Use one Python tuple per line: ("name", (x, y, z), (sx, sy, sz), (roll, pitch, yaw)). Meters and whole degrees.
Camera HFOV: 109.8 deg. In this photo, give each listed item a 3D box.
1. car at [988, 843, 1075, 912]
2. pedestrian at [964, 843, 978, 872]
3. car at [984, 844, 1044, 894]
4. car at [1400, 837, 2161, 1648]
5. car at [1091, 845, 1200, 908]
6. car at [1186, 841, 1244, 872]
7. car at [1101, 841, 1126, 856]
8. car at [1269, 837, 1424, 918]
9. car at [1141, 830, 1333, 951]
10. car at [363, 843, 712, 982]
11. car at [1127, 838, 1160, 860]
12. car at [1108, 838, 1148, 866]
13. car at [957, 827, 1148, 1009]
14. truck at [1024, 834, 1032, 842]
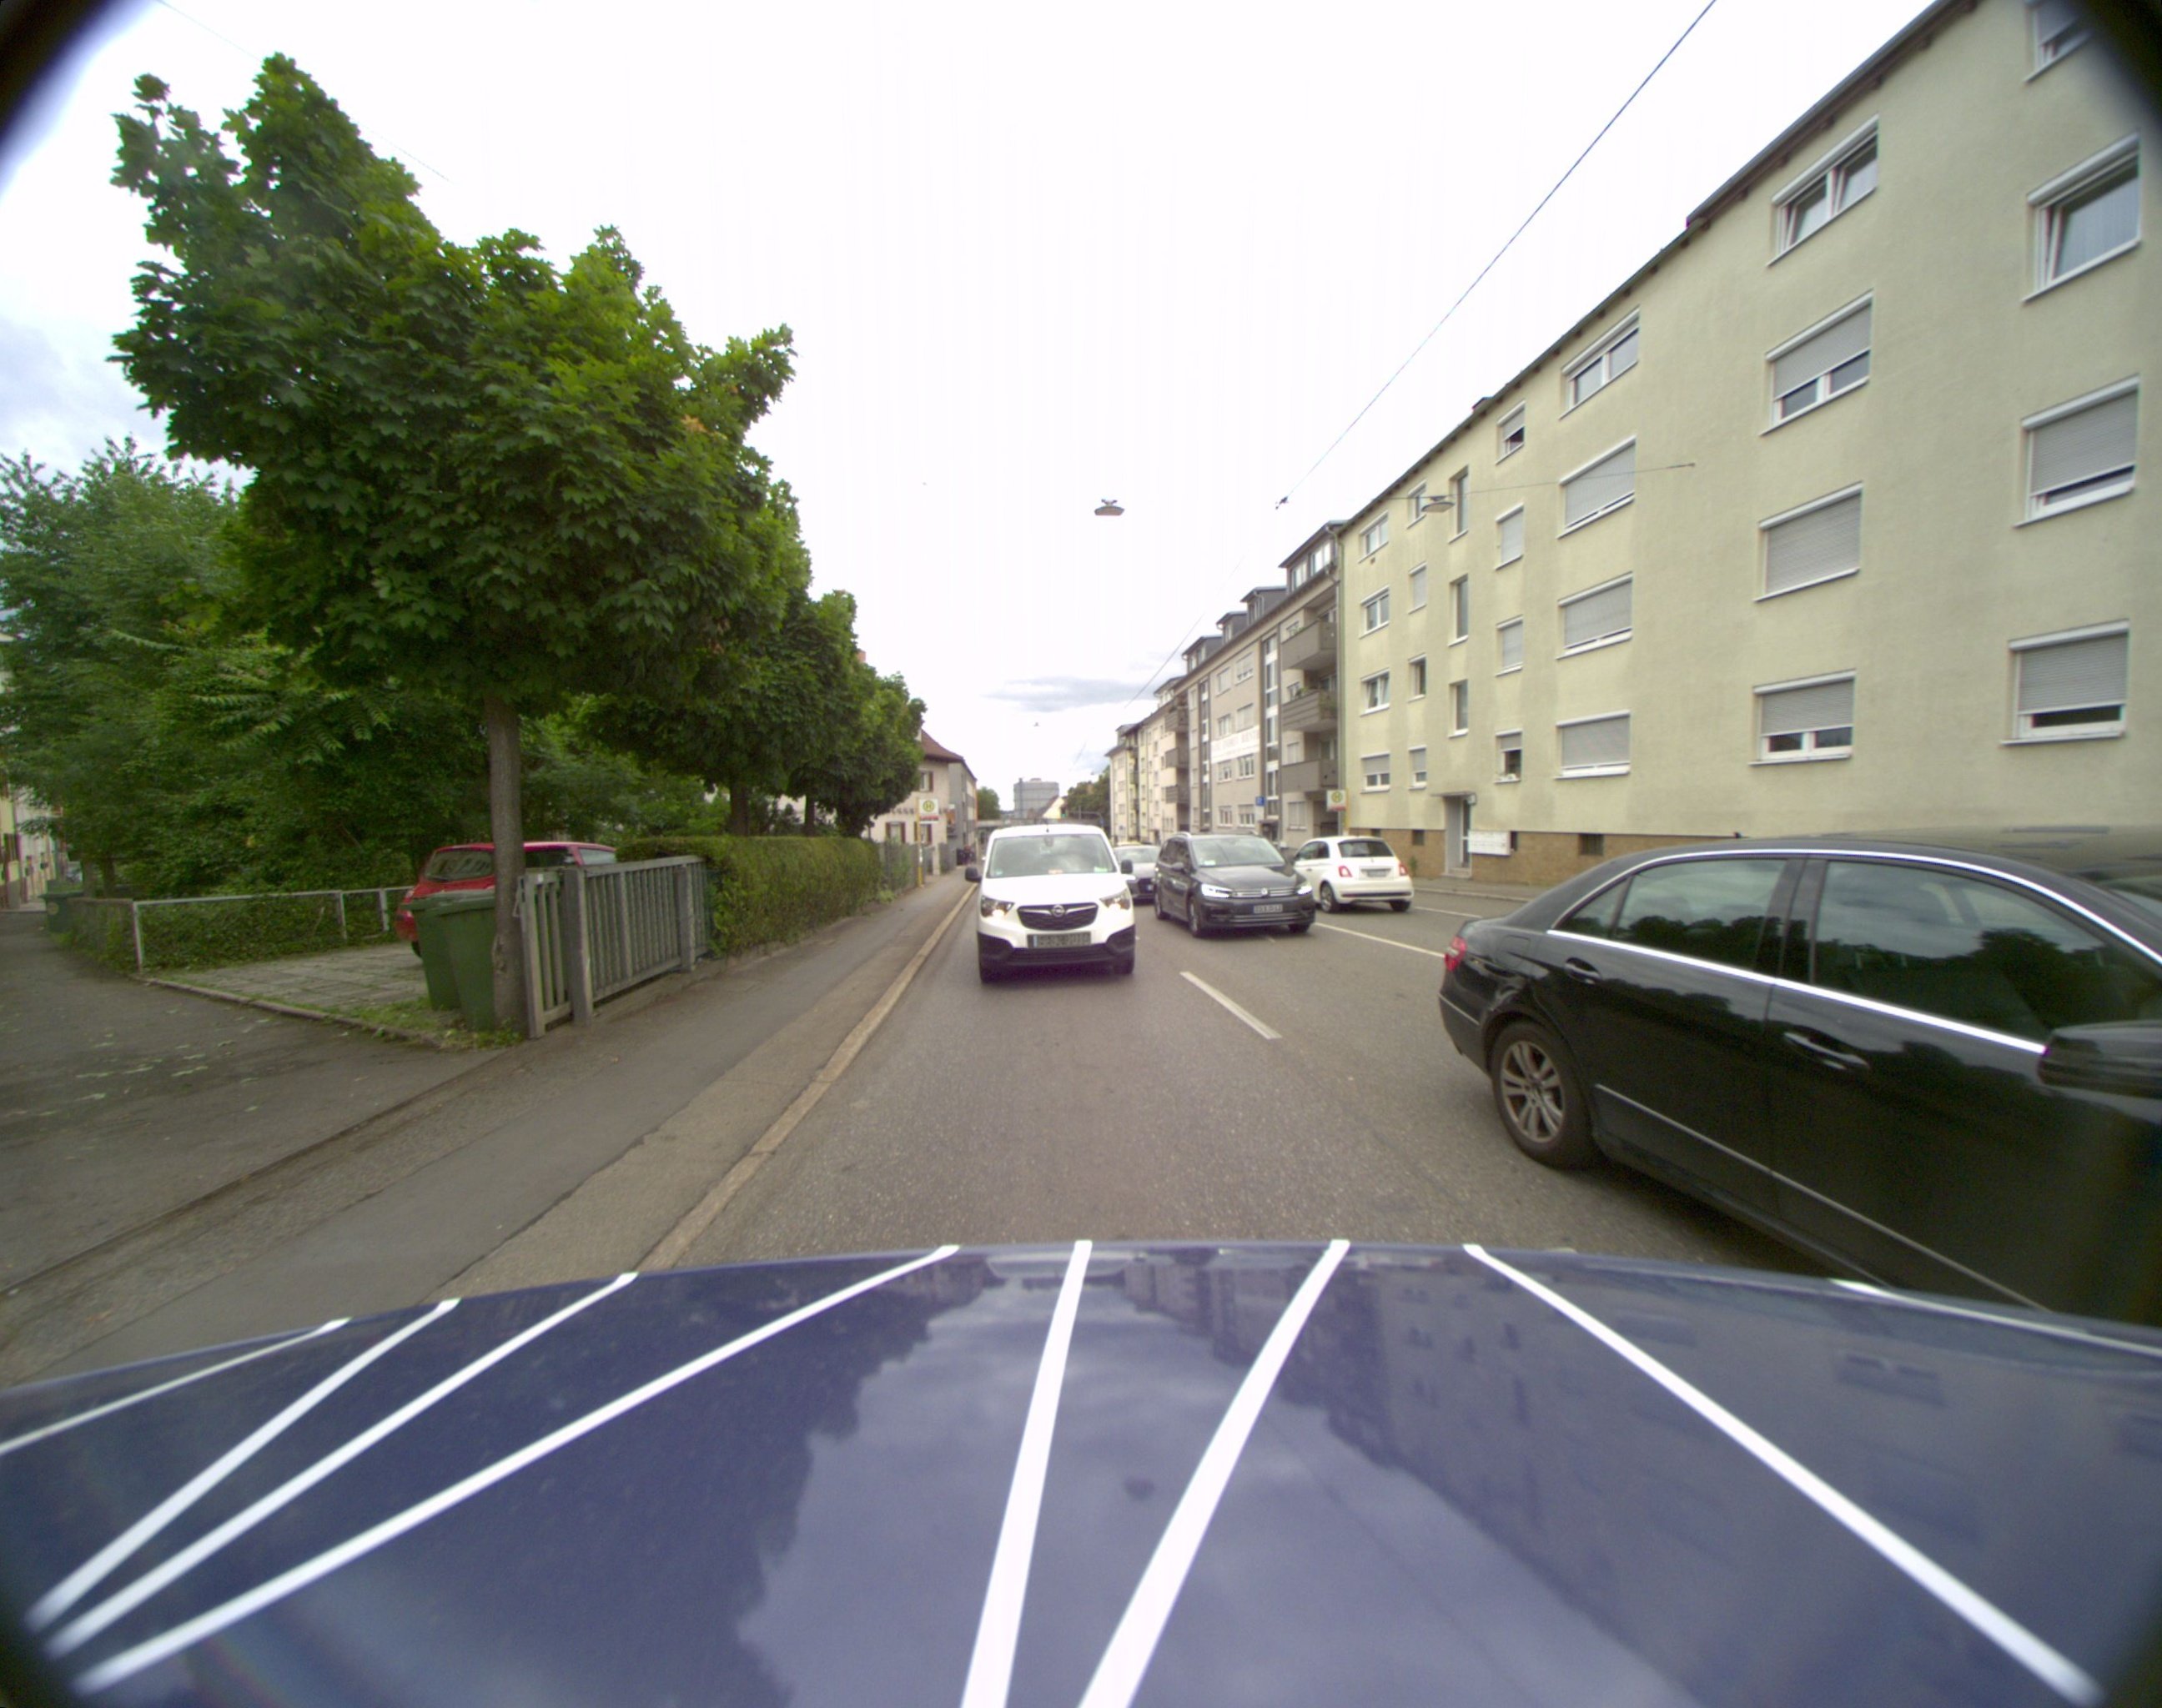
("car", (-1.423, 0.549, 20.160), (1.900, 1.501, 4.164), (-4, 1, -8))
("pedestrian", (-7.164, 0.210, 49.500), (0.647, 1.830, 0.593), (-2, 2, 8))
("car", (-2.530, 0.475, 27.986), (1.900, 1.635, 3.996), (-2, 1, -8))
("car", (2.959, 0.718, 1.960), (1.999, 1.421, 4.839), (-2, 2, -3))
("car", (1.501, 0.470, 19.225), (1.883, 1.347, 4.143), (-2, 1, -7))
("car", (6.572, 0.092, 37.711), (1.776, 1.403, 3.683), (0, 2, -9))
("car", (3.174, -0.522, 74.568), (1.776, 1.395, 3.755), (0, 2, -9))
("car", (5.321, 0.399, 15.682), (1.603, 1.439, 3.527), (-2, 1, -7))
("car", (2.381, 0.446, 12.905), (1.863, 1.602, 4.475), (-3, 2, -6))
("car", (-7.076, 0.661, 10.349), (1.698, 1.452, 3.442), (-2, 2, 18))
("car", (4.726, -0.389, 57.725), (1.776, 1.592, 3.537), (0, 2, -9))
("car", (2.620, -0.159, 42.973), (1.603, 1.509, 3.456), (-1, 2, -7))
("car", (-0.410, 0.588, 10.120), (1.863, 1.772, 4.708), (-3, 2, -3))
("truck", (-16.463, -4.878, 236.212), (2.547, 2.522, 5.491), (-1, 1, -5))
